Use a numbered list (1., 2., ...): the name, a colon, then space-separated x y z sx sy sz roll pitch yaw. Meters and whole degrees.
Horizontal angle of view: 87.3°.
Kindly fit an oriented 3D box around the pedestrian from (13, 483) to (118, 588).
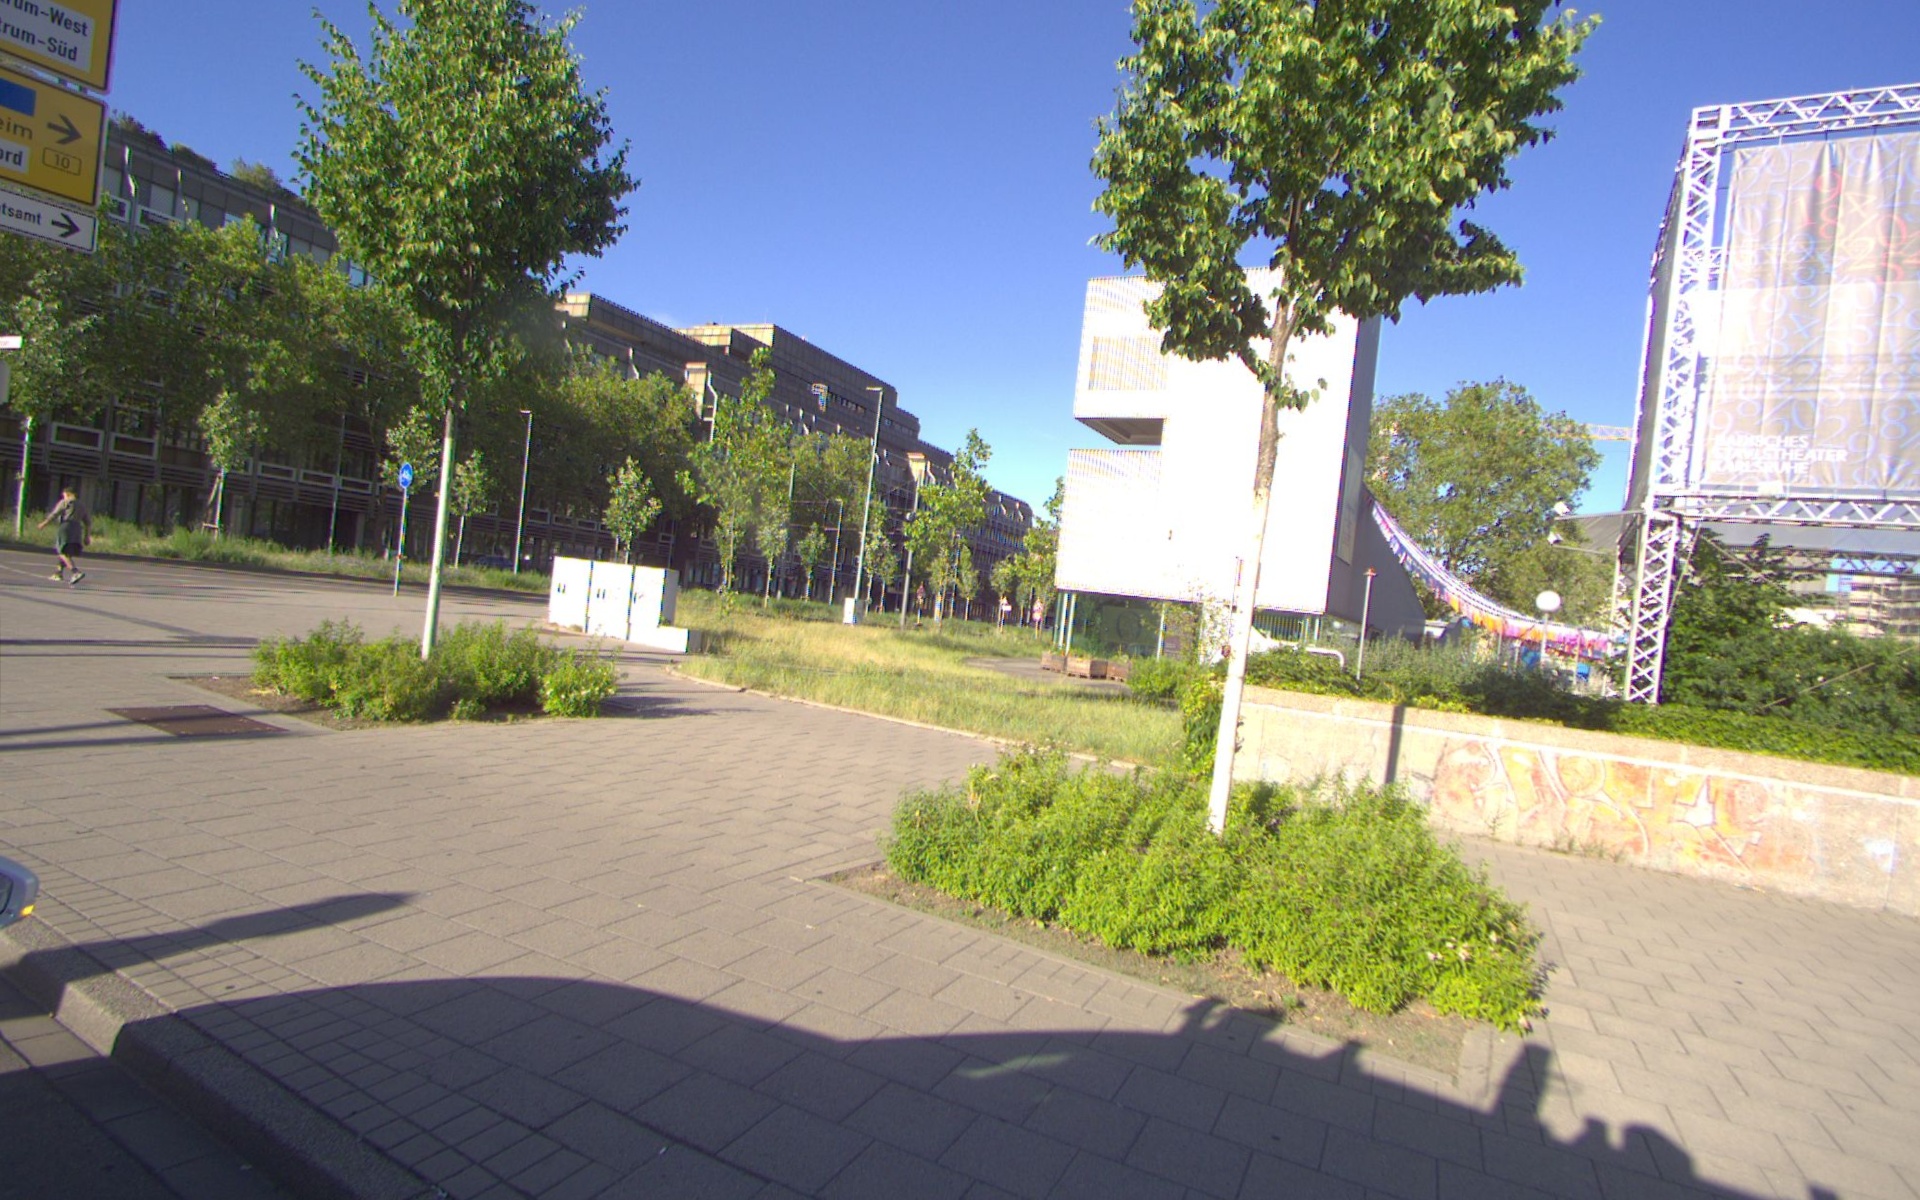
1. pedestrian: -15.995 -1.134 18.003 0.946 1.684 0.882 7 -1 16
